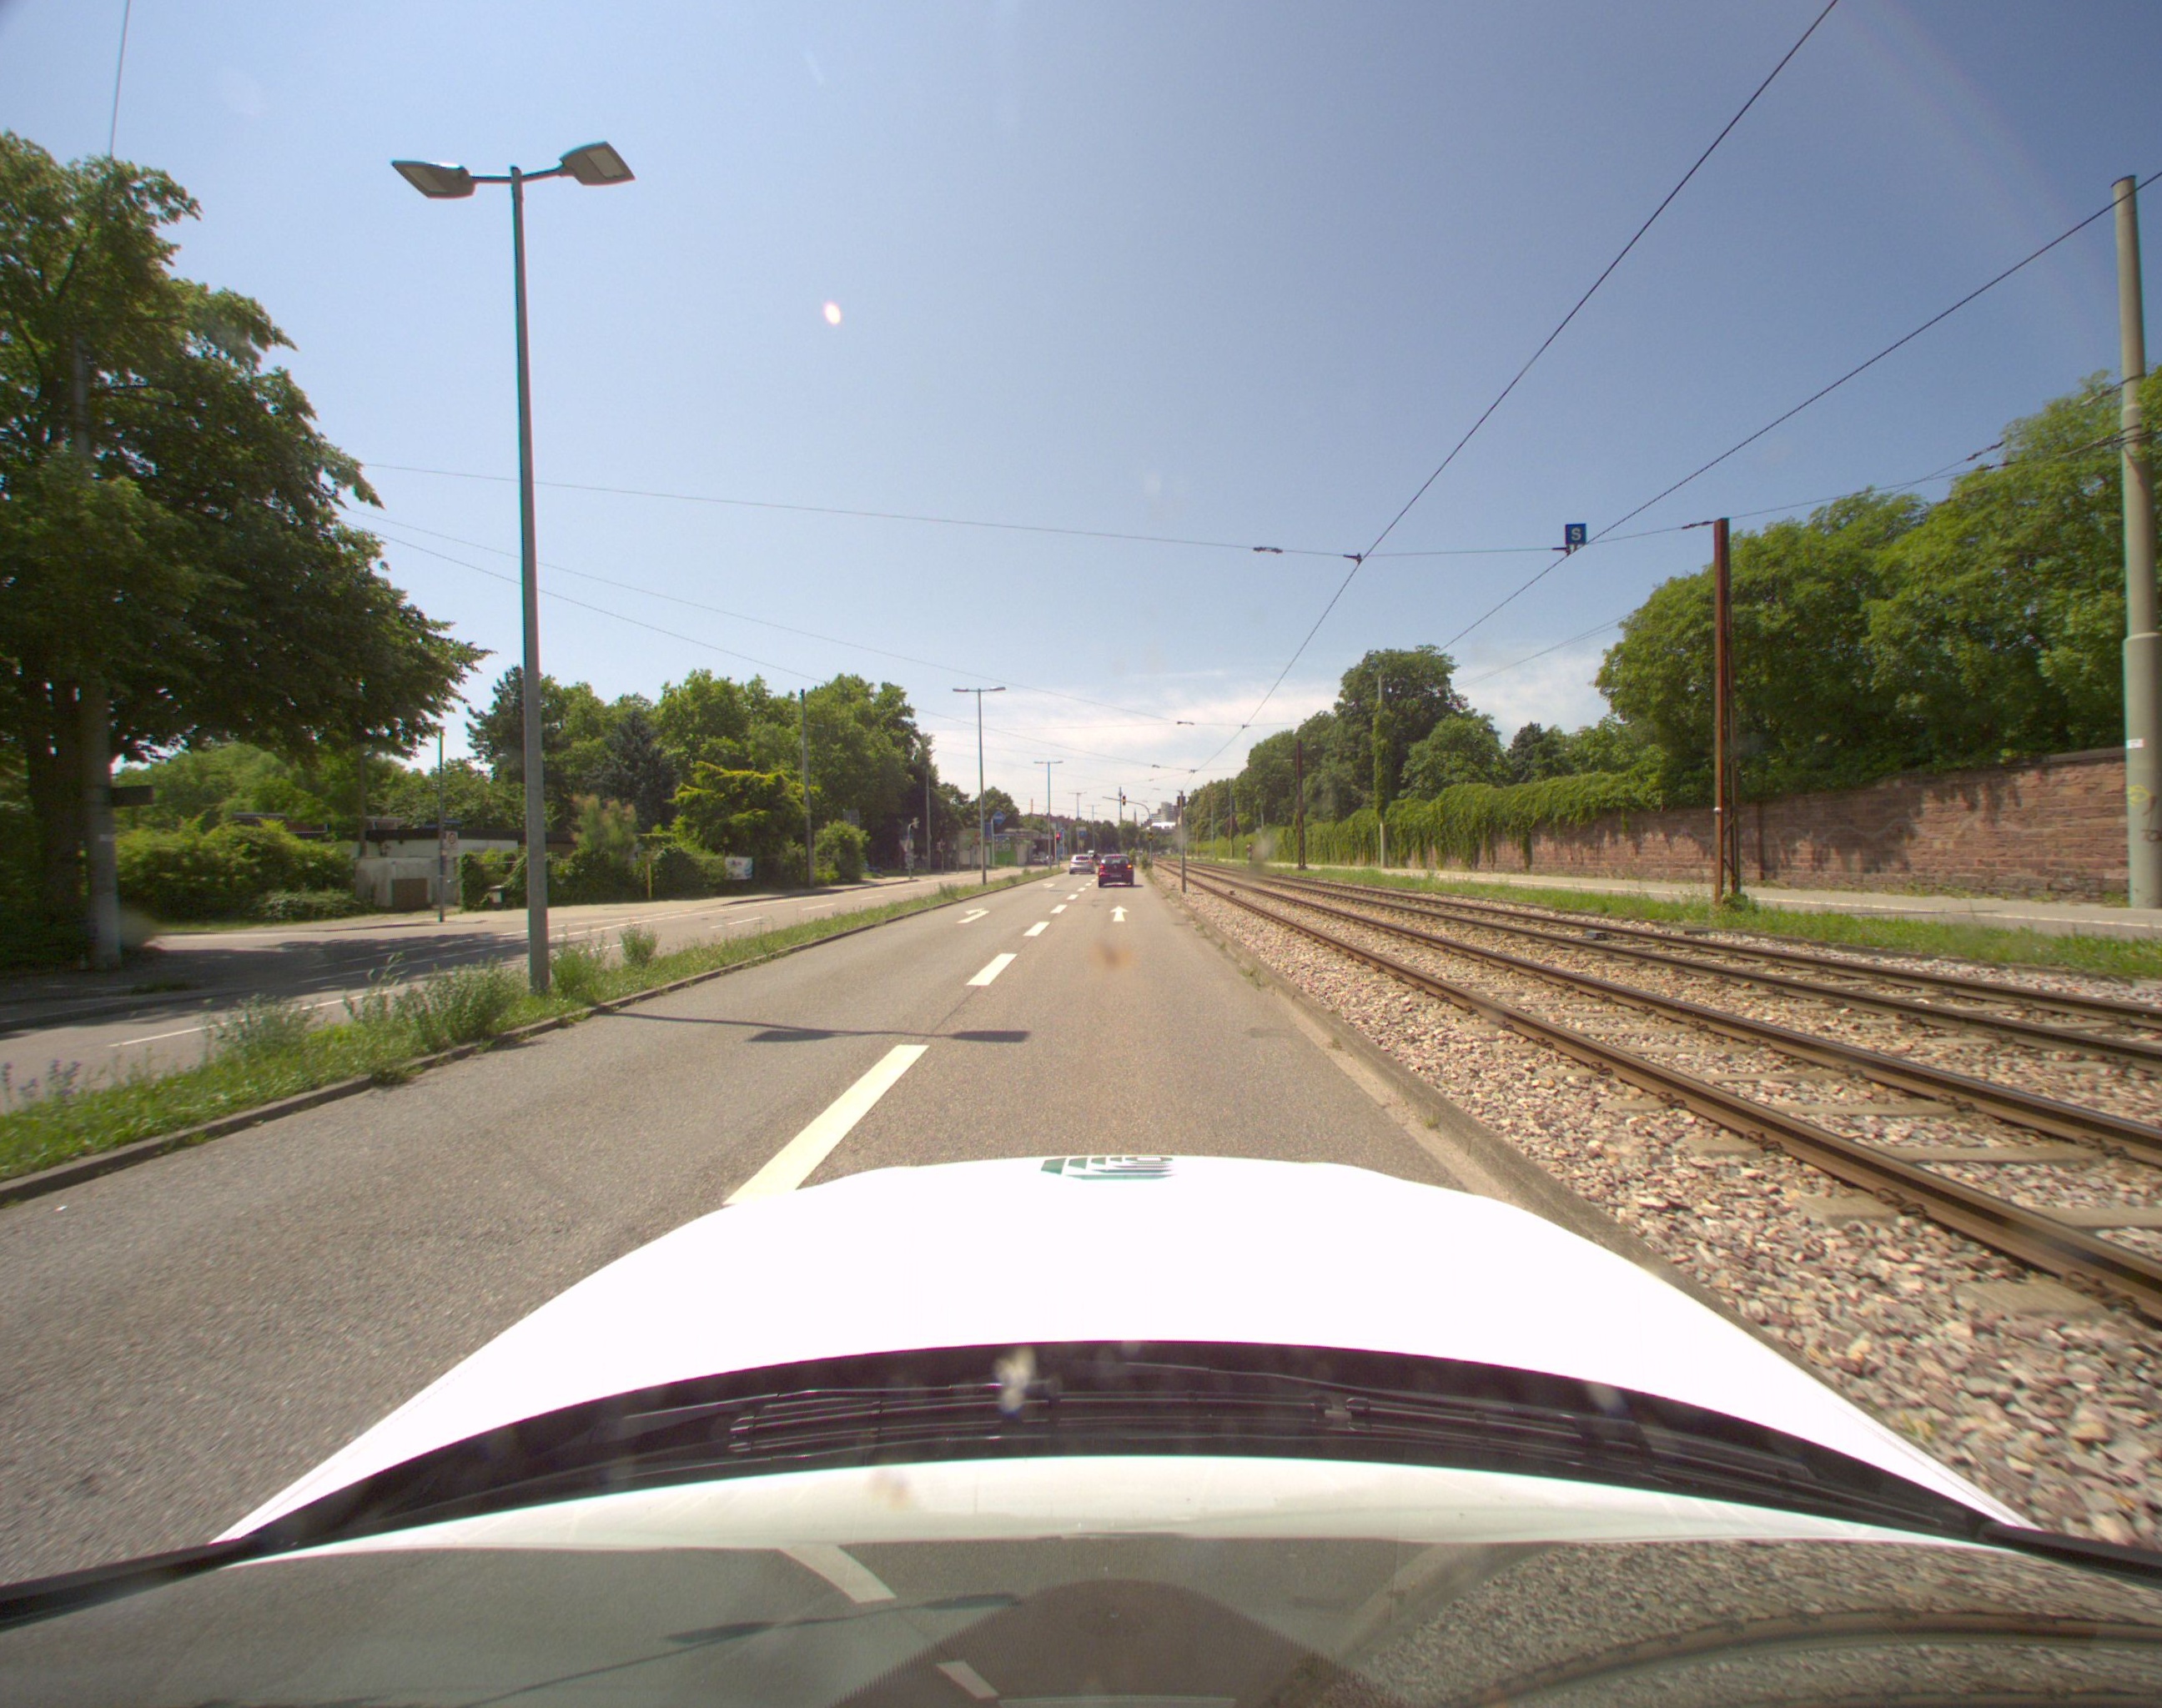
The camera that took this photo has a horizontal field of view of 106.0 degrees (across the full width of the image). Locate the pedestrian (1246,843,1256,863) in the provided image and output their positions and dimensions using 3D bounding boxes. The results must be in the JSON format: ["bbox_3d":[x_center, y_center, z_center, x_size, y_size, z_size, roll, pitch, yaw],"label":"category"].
[{"bbox_3d":[14.346,-0.077,68.852,0.659,1.726,0.817,-2,0,2],"label":"pedestrian"}]

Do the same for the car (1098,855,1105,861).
[{"bbox_3d":[6.316,1.329,248.329,1.740,1.686,4.005,-2,0,5],"label":"car"}]

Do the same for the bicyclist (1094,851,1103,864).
[{"bbox_3d":[2.178,0.447,99.831,0.943,1.593,1.085,0,-1,-6],"label":"bicyclist"}]

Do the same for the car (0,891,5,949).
[{"bbox_3d":[-31.942,1.893,21.635,3.973,1.613,2.000,-2,0,0],"label":"car"}]

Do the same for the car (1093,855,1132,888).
[{"bbox_3d":[1.429,0.773,37.700,1.696,1.477,3.718,0,0,1],"label":"car"}]

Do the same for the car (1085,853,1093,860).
[{"bbox_3d":[2.141,0.674,219.877,1.988,1.596,3.997,0,-1,-2],"label":"car"}]

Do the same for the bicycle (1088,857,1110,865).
[{"bbox_3d":[2.232,0.877,99.805,2.547,1.038,1.085,0,-1,-7],"label":"bicycle"}]

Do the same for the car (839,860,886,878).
[{"bbox_3d":[-21.059,1.416,78.471,3.958,1.579,1.778,-2,0,14],"label":"car"}]

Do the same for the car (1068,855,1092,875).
[{"bbox_3d":[-0.036,0.823,61.645,1.696,1.481,3.718,-2,-1,2],"label":"car"}]

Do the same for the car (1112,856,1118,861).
[{"bbox_3d":[10.313,1.392,245.392,1.729,1.418,4.005,-2,0,4],"label":"car"}]
